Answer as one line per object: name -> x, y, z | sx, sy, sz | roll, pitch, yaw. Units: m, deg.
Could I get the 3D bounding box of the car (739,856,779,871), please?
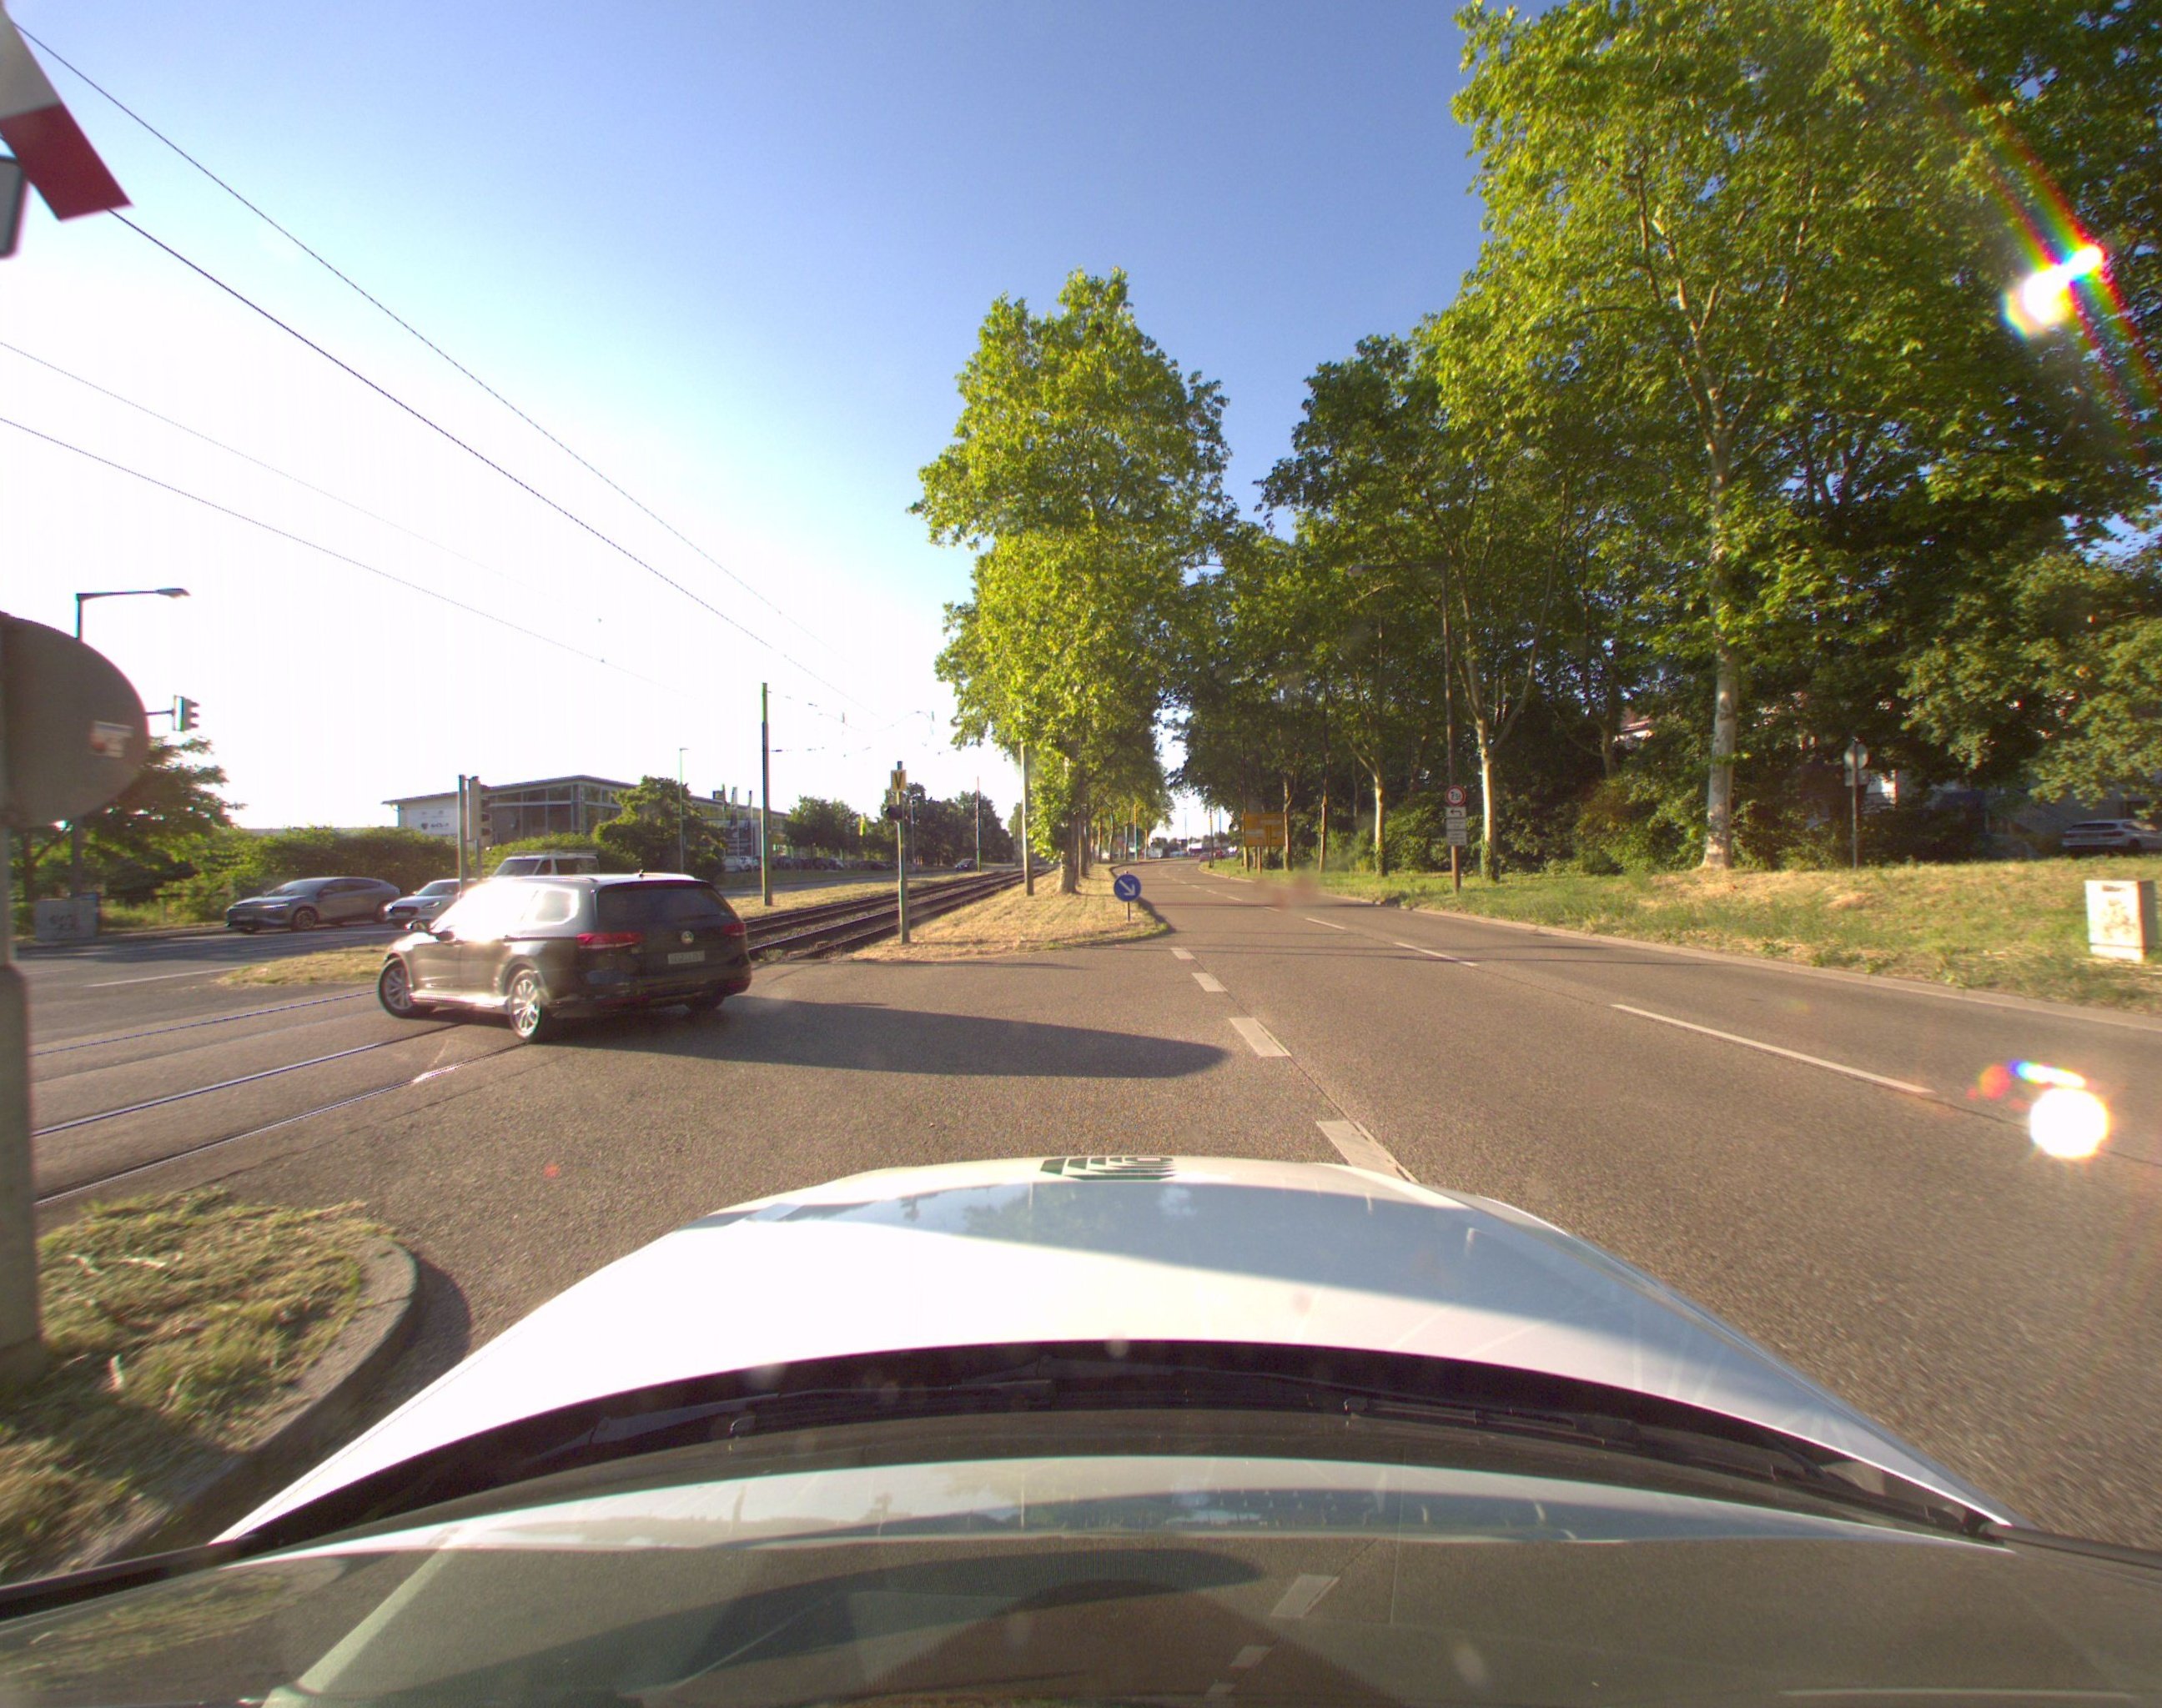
car -> -34.225, 0.996, 86.615 | 3.798, 1.567, 1.748 | 0, -1, -19

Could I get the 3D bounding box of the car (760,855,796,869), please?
car -> -34.470, 0.886, 92.709 | 3.798, 1.567, 1.748 | 0, -1, -19

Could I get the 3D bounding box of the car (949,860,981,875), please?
car -> -13.698, 1.638, 96.361 | 1.792, 1.684, 4.022 | -1, 0, 23

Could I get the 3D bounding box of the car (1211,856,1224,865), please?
car -> 22.754, 1.009, 135.805 | 1.982, 1.440, 4.010 | -1, -1, 9

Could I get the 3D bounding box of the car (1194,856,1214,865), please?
car -> 19.000, 0.976, 125.685 | 1.976, 1.442, 4.022 | -1, -1, 23

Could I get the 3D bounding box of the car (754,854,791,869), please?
car -> -34.025, 0.842, 89.893 | 3.798, 1.567, 1.748 | 0, -1, -19

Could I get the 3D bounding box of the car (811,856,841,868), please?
car -> -33.861, 1.087, 108.159 | 3.798, 1.567, 1.748 | 0, -1, -19

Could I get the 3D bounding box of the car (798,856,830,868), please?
car -> -34.352, 1.047, 104.792 | 3.798, 1.567, 1.748 | 0, -1, -19

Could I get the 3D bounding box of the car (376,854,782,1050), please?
car -> -5.234, 0.819, 8.367 | 4.203, 1.556, 1.842 | -1, -1, 31

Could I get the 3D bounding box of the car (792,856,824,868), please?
car -> -34.183, 1.008, 101.986 | 3.798, 1.567, 1.748 | 0, -1, -19

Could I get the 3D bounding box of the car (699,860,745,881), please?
car -> -33.821, 1.542, 76.789 | 3.798, 1.860, 1.748 | 0, -1, -19

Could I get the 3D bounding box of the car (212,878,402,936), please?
car -> -25.085, 1.642, 26.676 | 1.864, 1.618, 4.547 | -1, -1, 0

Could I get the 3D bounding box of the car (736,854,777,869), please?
car -> -33.636, 0.765, 84.496 | 3.798, 1.567, 1.748 | 0, -1, -19

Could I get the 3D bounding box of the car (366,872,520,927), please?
car -> -21.086, 1.460, 27.142 | 1.863, 1.618, 4.003 | -1, -1, 3

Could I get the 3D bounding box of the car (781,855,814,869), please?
car -> -34.313, 0.963, 98.597 | 3.798, 1.567, 1.748 | 0, -1, -19

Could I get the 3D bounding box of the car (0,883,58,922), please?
car -> -48.030, 2.143, 35.302 | 2.100, 1.637, 4.011 | -1, -1, 10

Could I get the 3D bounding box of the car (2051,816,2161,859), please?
car -> 42.655, -0.665, 33.592 | 3.995, 1.706, 1.908 | 0, -1, -16

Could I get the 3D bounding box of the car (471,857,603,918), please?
car -> -24.813, 1.453, 37.522 | 1.996, 2.566, 5.878 | -1, -1, 2

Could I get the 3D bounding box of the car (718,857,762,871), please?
car -> -33.552, 0.994, 80.223 | 3.798, 1.388, 1.748 | 0, -1, -19
